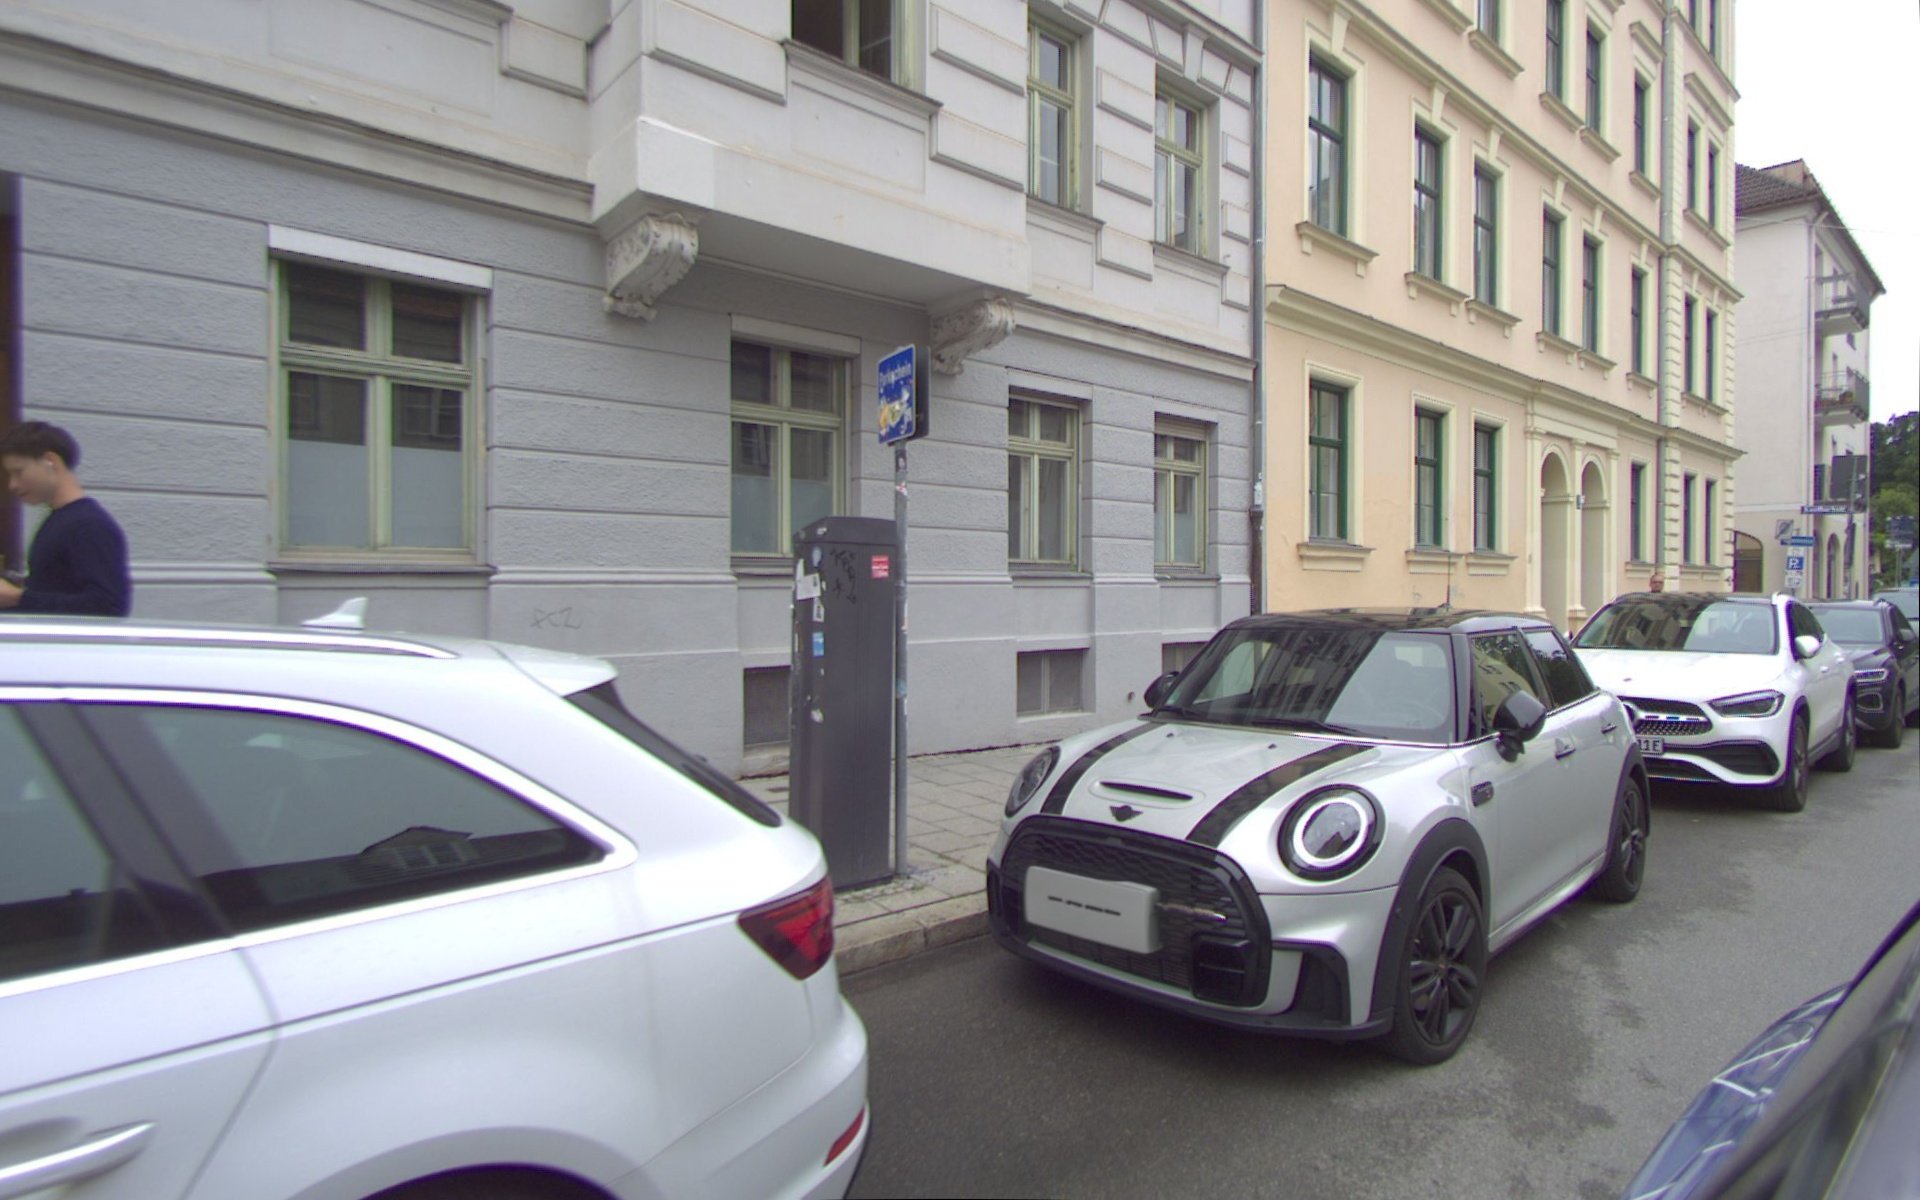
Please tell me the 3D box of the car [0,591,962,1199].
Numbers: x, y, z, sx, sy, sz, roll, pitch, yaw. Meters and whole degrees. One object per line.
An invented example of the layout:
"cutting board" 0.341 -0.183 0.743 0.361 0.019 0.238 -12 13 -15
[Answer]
"car" -2.335 0.707 0.969 4.730 1.426 1.711 0 0 -41

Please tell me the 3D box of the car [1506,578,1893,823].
"car" 6.523 0.640 8.726 4.388 1.603 1.746 0 0 -41

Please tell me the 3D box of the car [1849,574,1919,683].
"car" 18.683 0.500 19.138 5.159 1.888 2.002 0 0 -39

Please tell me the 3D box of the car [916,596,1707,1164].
"car" 1.915 0.706 4.631 4.137 1.422 1.710 0 0 -43

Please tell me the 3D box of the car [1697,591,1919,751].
"car" 10.271 0.672 11.843 4.199 1.540 1.758 0 0 -41

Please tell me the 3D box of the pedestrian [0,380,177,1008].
"pedestrian" -3.199 0.287 3.527 0.696 2.004 0.671 -1 4 -40

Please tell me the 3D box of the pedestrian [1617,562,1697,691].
"pedestrian" 9.820 0.341 14.260 0.987 1.738 0.720 -1 1 -42

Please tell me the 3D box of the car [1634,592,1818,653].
"car" 22.631 0.639 30.013 1.724 1.626 4.094 3 -1 -42
